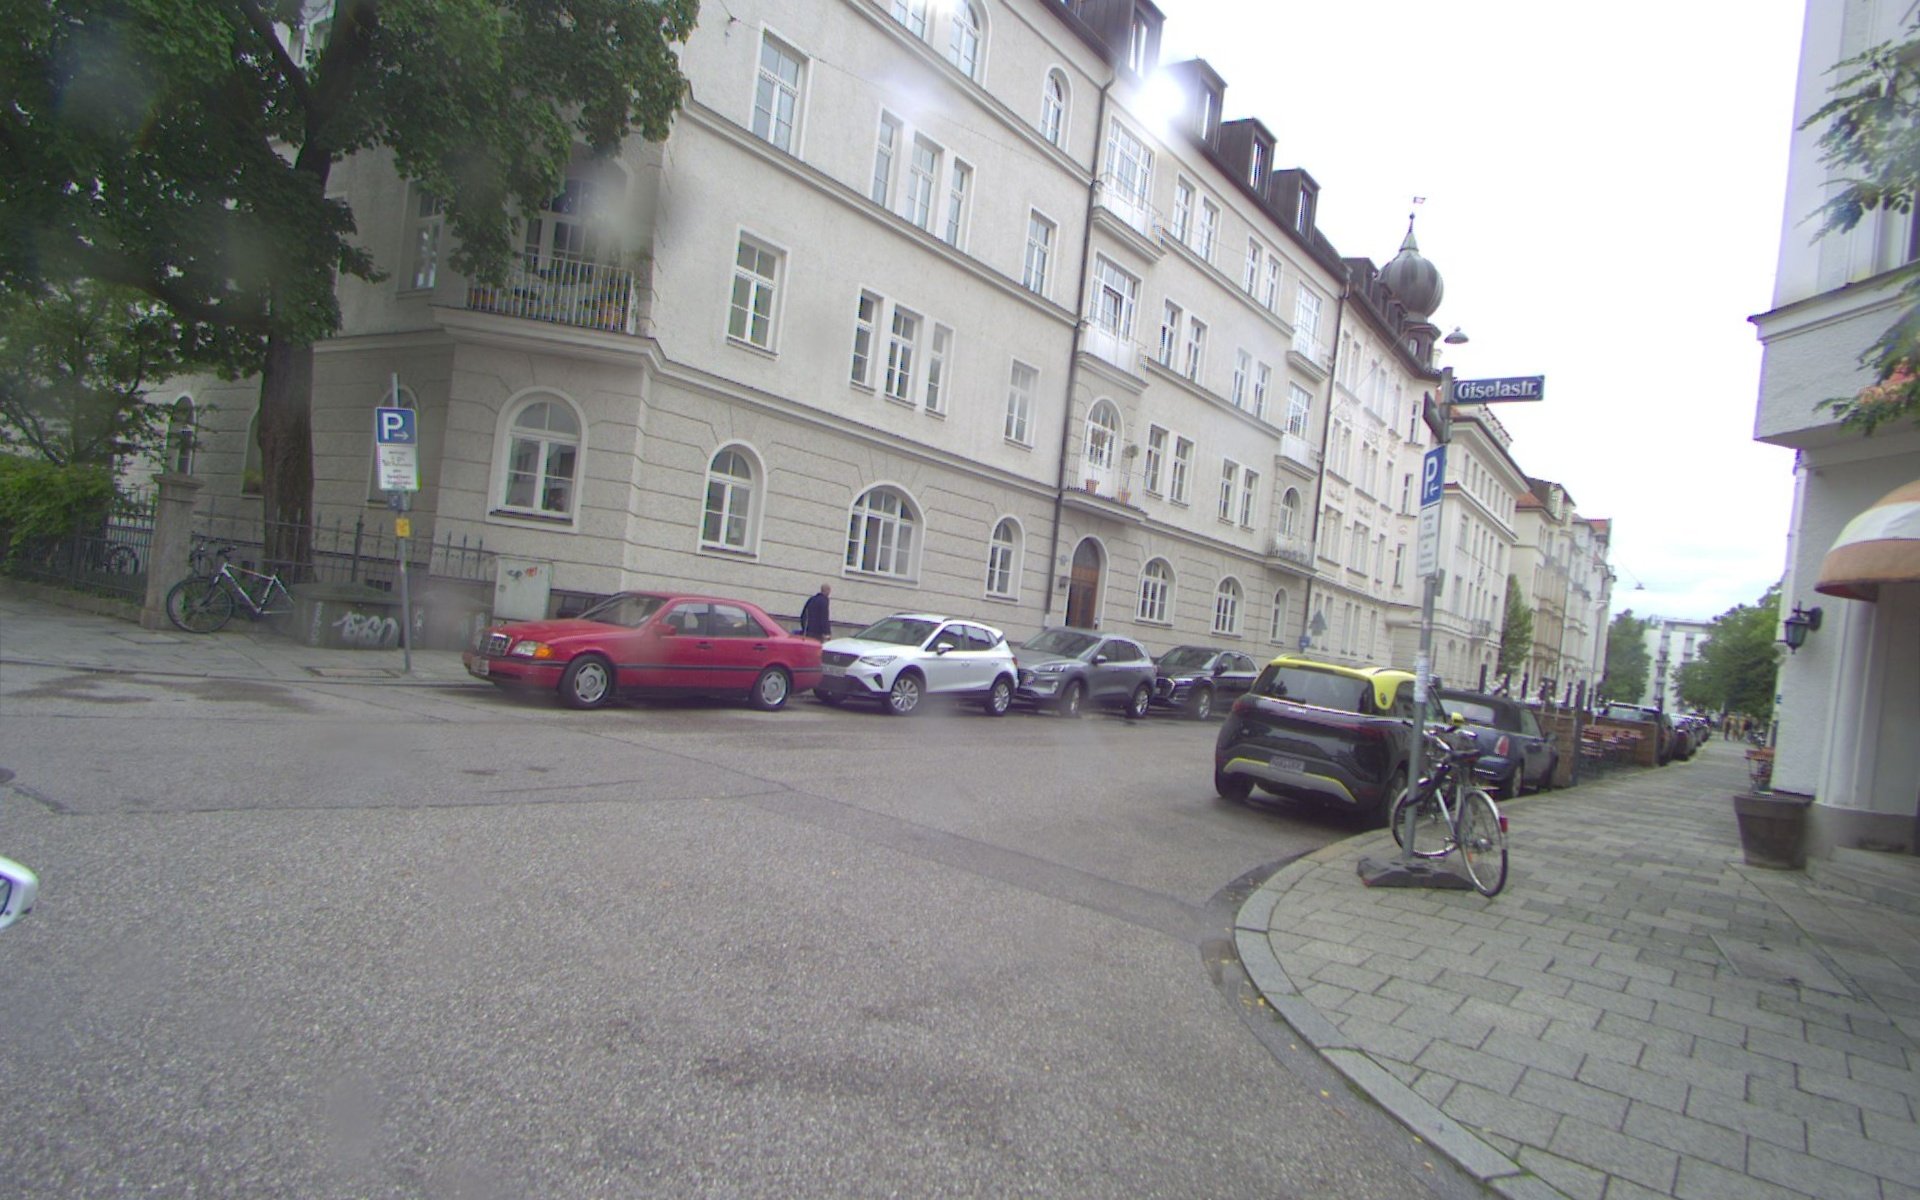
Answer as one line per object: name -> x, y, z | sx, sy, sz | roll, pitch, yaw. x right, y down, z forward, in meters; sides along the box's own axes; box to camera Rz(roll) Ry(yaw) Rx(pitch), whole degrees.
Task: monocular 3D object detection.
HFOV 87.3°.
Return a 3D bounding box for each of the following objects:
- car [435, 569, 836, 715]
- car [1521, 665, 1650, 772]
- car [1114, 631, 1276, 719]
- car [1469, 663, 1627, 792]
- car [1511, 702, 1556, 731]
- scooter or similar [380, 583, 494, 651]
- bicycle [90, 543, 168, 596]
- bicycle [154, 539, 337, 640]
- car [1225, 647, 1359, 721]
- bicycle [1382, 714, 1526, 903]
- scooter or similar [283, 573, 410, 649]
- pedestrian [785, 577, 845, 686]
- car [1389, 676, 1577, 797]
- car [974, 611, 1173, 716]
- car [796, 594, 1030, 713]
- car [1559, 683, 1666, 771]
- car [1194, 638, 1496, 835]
car -> -3.788, 0.607, 12.496 | 1.734, 1.374, 4.467 | 6, -1, 37
car -> 13.813, 2.606, 22.119 | 1.706, 1.958, 3.644 | 6, -2, 41
car -> 5.572, 1.806, 23.504 | 1.862, 1.683, 4.276 | 6, -1, 39
car -> 11.221, 2.400, 19.086 | 1.750, 1.992, 3.915 | 6, -2, 41
car -> 35.574, 7.220, 62.382 | 1.969, 1.527, 3.990 | 6, -2, 35
scooter or similar -> -7.630, 0.257, 14.702 | 0.686, 0.835, 1.237 | 6, -2, 39
bicycle -> -15.888, -0.597, 19.209 | 2.237, 0.821, 0.492 | 6, -1, 35
bicycle -> -9.519, -0.115, 13.476 | 0.554, 1.137, 1.836 | 7, -1, 40
car -> 9.375, 2.383, 28.215 | 1.864, 1.683, 4.272 | 6, -1, 42
bicycle -> 3.639, 1.441, 7.345 | 0.727, 1.082, 1.602 | 2, -1, 33
scooter or similar -> -8.331, 0.155, 13.675 | 0.911, 0.858, 1.182 | 6, -2, 40
pedestrian -> -2.641, 0.581, 18.356 | 0.729, 1.898, 0.495 | 6, -1, 25
car -> 8.102, 2.067, 15.450 | 1.677, 1.442, 3.525 | 6, -2, 41
car -> 2.365, 1.324, 20.000 | 1.727, 1.732, 4.325 | 5, -2, 40
car -> -0.615, 0.925, 16.026 | 1.541, 1.539, 3.888 | 6, -2, 35
car -> 16.527, 3.177, 25.389 | 1.717, 1.834, 3.985 | 6, -2, 39
car -> 4.472, 1.466, 11.290 | 1.878, 1.616, 4.073 | 6, -2, 39
